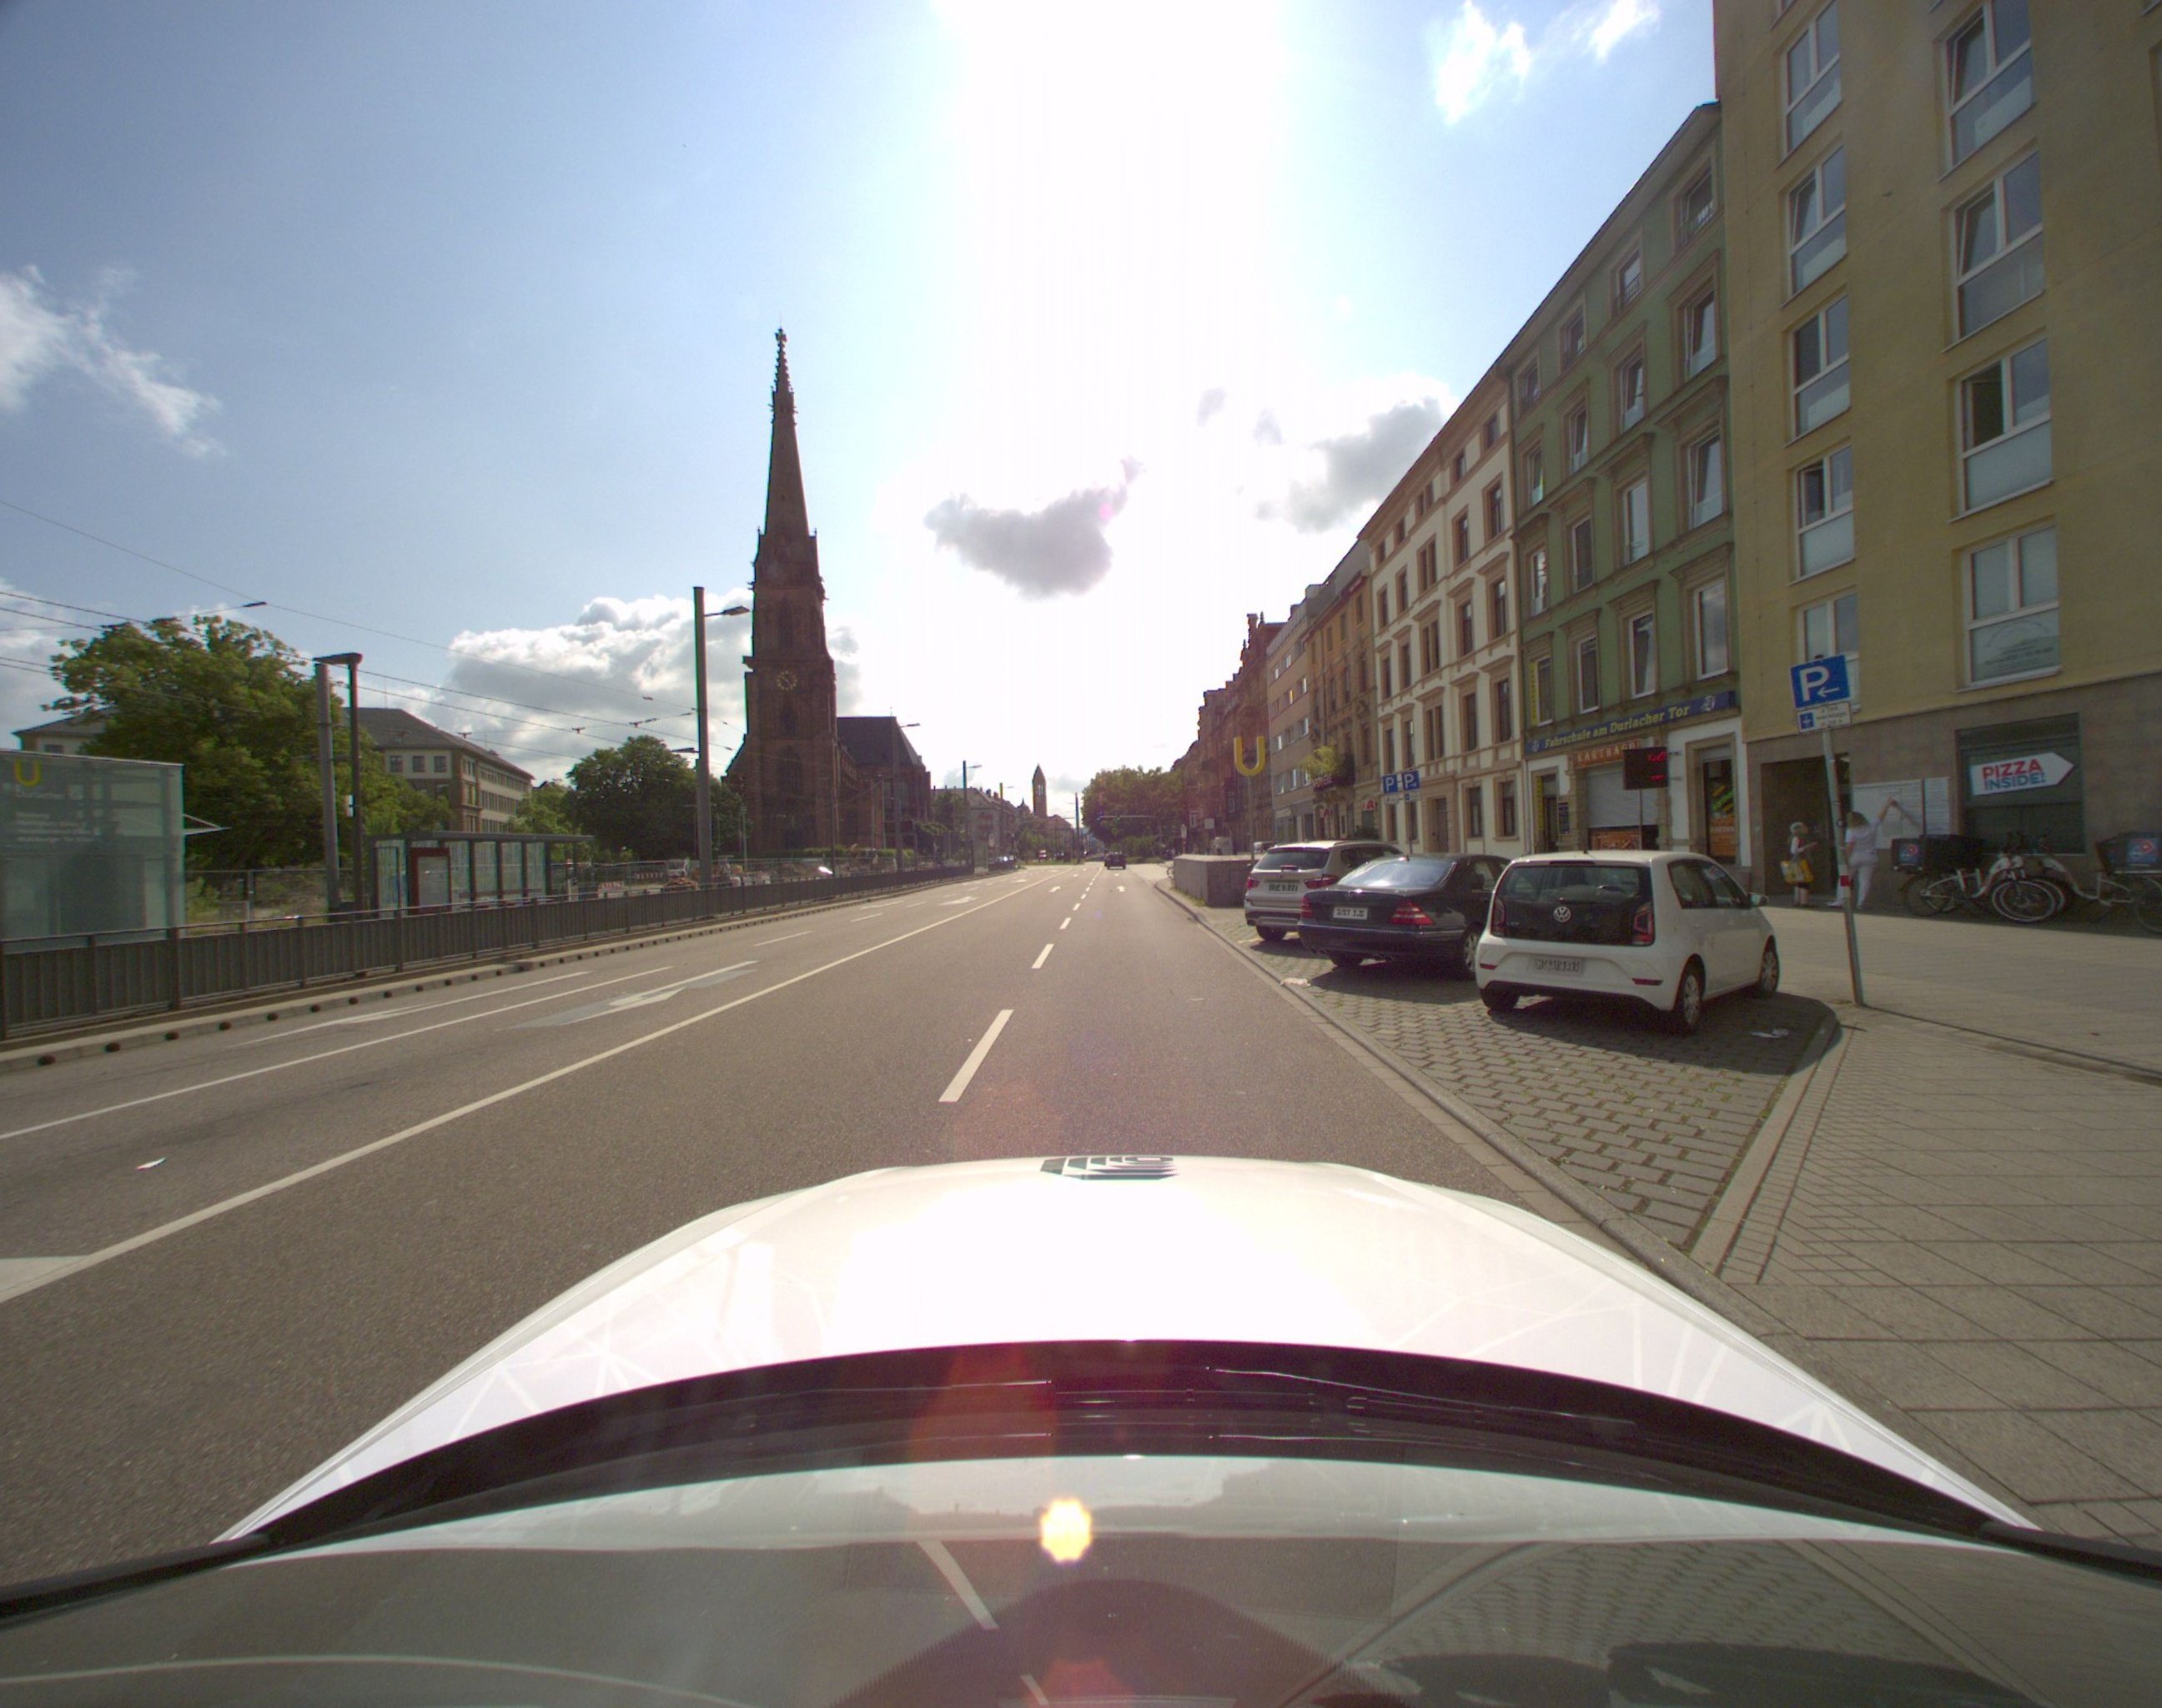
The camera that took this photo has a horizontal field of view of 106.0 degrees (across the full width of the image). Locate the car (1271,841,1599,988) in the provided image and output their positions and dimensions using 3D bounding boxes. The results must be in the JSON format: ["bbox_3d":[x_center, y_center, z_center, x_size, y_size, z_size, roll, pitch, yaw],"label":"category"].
[{"bbox_3d":[4.736,0.614,10.591,4.622,1.460,1.917,-2,0,-38],"label":"car"}]

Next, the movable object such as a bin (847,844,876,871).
[{"bbox_3d":[-27.151,0.351,101.015,1.983,3.105,4.008,-2,2,6],"label":"movable object such as a bin"}]

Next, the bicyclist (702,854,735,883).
[{"bbox_3d":[-21.986,0.844,49.378,1.174,1.684,1.684,-2,0,0],"label":"bicyclist"}]

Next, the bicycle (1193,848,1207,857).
[{"bbox_3d":[16.210,-0.200,111.010,1.737,1.267,0.467,-2,2,5],"label":"bicycle"}]

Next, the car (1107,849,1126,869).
[{"bbox_3d":[3.487,0.480,80.018,1.683,1.711,3.609,-2,2,0],"label":"car"}]

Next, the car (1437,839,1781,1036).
[{"bbox_3d":[5.192,0.619,7.874,3.514,1.453,1.758,-1,-1,-39],"label":"car"}]

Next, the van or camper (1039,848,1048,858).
[{"bbox_3d":[-10.907,-0.172,235.034,2.249,2.737,6.200,-2,0,-1],"label":"van or camper"}]

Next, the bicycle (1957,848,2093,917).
[{"bbox_3d":[13.886,0.391,12.030,0.291,0.922,1.464,-2,1,0],"label":"bicycle"}]

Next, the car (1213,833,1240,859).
[{"bbox_3d":[15.430,-0.840,86.857,1.986,2.525,5.892,-2,0,2],"label":"car"}]

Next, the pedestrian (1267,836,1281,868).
[{"bbox_3d":[12.827,-0.140,54.041,0.718,2.099,0.787,-2,2,2],"label":"pedestrian"}]

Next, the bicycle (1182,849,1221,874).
[{"bbox_3d":[6.328,0.401,42.823,1.923,1.237,0.440,-3,2,-9],"label":"bicycle"}]

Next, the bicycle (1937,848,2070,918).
[{"bbox_3d":[13.569,0.401,12.029,0.291,0.922,1.464,-2,2,0],"label":"bicycle"}]

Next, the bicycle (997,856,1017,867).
[{"bbox_3d":[-8.288,0.813,91.678,2.005,1.126,0.934,-2,0,12],"label":"bicycle"}]

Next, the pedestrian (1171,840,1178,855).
[{"bbox_3d":[13.000,-0.854,113.513,0.764,2.013,0.716,-3,0,2],"label":"pedestrian"}]

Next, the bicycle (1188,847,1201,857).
[{"bbox_3d":[16.079,-0.248,114.978,1.760,1.267,0.467,-2,2,5],"label":"bicycle"}]

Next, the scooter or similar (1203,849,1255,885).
[{"bbox_3d":[6.853,0.615,37.747,2.312,1.545,0.699,-2,2,7],"label":"scooter or similar"}]

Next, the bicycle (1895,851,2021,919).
[{"bbox_3d":[13.123,0.432,12.240,0.291,0.922,1.464,-2,1,0],"label":"bicycle"}]

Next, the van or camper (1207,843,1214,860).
[{"bbox_3d":[16.186,-0.291,101.818,0.663,2.013,0.638,-3,0,2],"label":"van or camper"}]

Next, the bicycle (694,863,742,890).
[{"bbox_3d":[-21.965,1.332,49.438,1.189,1.427,3.693,-2,0,0],"label":"bicycle"}]

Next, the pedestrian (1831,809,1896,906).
[{"bbox_3d":[13.594,0.049,14.162,0.599,1.618,0.461,-5,2,2],"label":"pedestrian"}]

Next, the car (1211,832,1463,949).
[{"bbox_3d":[4.592,0.515,14.268,4.621,1.647,2.037,-3,0,-41],"label":"car"}]

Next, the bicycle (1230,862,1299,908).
[{"bbox_3d":[4.780,0.804,21.283,1.627,1.095,0.613,2,2,-1],"label":"bicycle"}]

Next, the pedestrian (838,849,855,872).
[{"bbox_3d":[-21.324,0.585,74.031,1.060,2.013,1.052,-3,0,5],"label":"pedestrian"}]

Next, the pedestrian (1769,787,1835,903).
[{"bbox_3d":[13.072,-0.170,14.774,0.599,2.013,0.461,-8,2,2],"label":"pedestrian"}]

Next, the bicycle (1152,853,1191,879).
[{"bbox_3d":[4.684,0.617,42.020,1.925,1.237,0.439,-3,2,-12],"label":"bicycle"}]

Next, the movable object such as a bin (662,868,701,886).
[{"bbox_3d":[-38.417,2.215,78.399,1.994,1.502,5.136,-2,0,-11],"label":"movable object such as a bin"}]

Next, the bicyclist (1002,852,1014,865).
[{"bbox_3d":[-8.252,0.470,91.710,1.082,1.436,0.827,-2,0,12],"label":"bicyclist"}]

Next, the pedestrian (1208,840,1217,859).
[{"bbox_3d":[12.913,-0.426,79.763,0.661,1.836,0.693,-3,0,-4],"label":"pedestrian"}]

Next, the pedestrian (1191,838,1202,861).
[{"bbox_3d":[9.951,-0.387,70.081,0.664,1.903,0.691,-3,0,-17],"label":"pedestrian"}]

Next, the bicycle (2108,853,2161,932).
[{"bbox_3d":[13.127,0.476,9.562,0.291,0.922,1.464,-2,2,0],"label":"bicycle"}]

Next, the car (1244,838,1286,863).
[{"bbox_3d":[14.528,-0.263,64.525,1.989,1.862,4.747,-2,-1,-3],"label":"car"}]

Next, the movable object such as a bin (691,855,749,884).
[{"bbox_3d":[-38.255,1.617,86.499,5.130,2.911,1.996,-2,0,-6],"label":"movable object such as a bin"}]
